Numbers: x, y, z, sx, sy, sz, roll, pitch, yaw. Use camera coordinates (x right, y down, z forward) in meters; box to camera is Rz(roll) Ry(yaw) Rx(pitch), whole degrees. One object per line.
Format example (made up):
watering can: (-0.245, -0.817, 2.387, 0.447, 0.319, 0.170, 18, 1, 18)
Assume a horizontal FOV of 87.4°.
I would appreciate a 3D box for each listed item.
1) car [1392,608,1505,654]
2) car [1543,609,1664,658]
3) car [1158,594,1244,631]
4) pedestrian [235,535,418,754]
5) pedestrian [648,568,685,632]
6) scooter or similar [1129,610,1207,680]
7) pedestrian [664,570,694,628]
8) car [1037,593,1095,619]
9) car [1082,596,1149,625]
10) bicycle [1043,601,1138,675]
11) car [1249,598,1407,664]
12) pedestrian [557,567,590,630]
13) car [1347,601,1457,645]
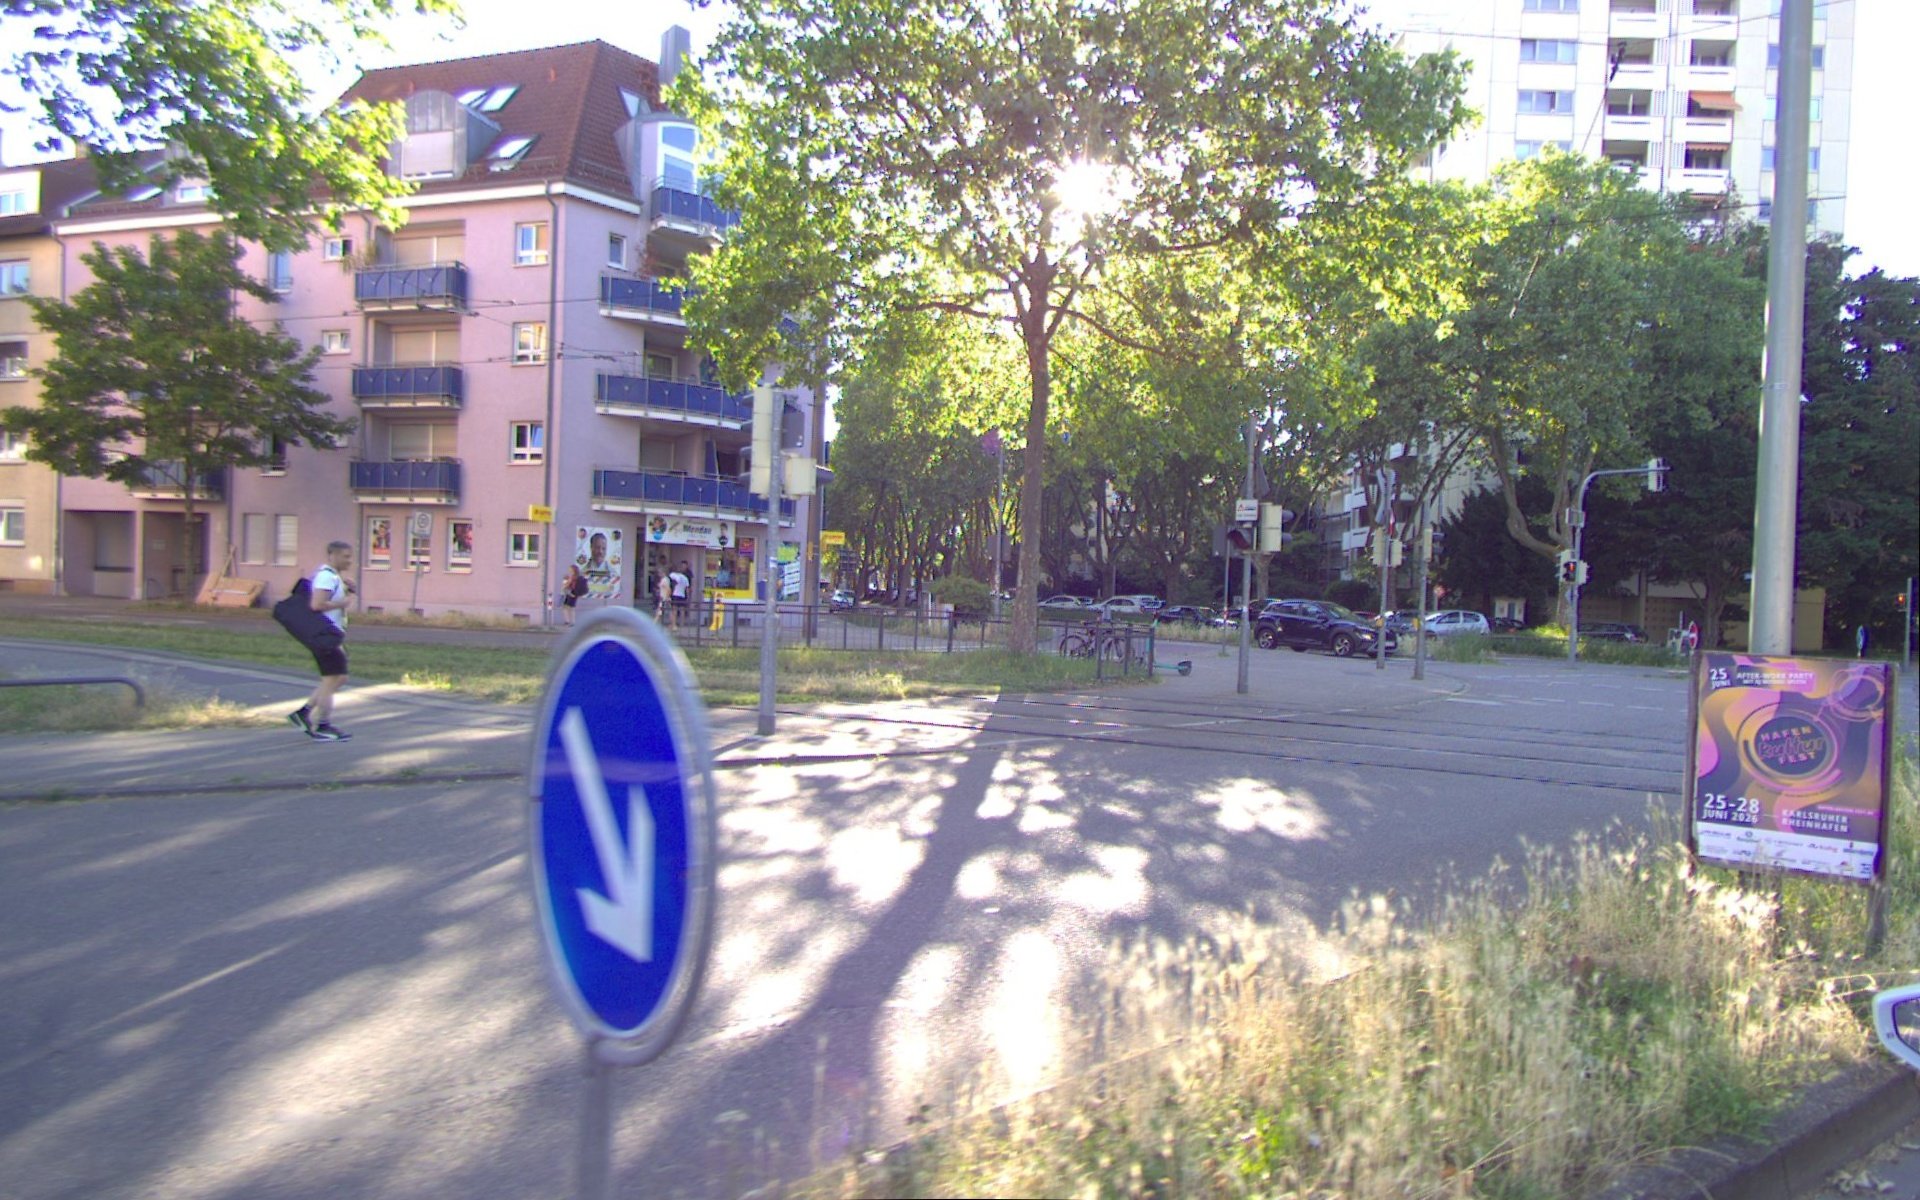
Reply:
car: (20.143, 1.270, 41.500, 3.732, 1.617, 1.738, 3, 1, 0)
car: (27.892, 1.426, 43.681, 1.971, 1.798, 3.979, 3, 1, -22)
car: (12.241, 0.611, 51.232, 3.921, 1.617, 1.738, 3, 1, 0)
pedestrian: (-5.558, 0.358, 8.828, 0.889, 1.760, 1.084, 4, 1, 39)
pedestrian: (-8.037, 0.008, 27.527, 0.607, 1.689, 0.926, 3, 1, 5)
scooter or similar: (4.084, 0.878, 19.801, 1.412, 1.255, 0.414, 3, 1, 9)
pedestrian: (-8.502, -0.026, 30.368, 0.610, 1.689, 0.549, 4, 1, 38)
car: (7.514, 0.442, 71.473, 3.921, 1.617, 1.738, 3, 1, 0)
car: (9.789, 0.659, 63.549, 3.921, 1.617, 1.738, 3, 1, 0)
bicycle: (2.561, 0.729, 19.848, 1.811, 1.324, 0.382, 4, 1, 34)
car: (10.533, 0.853, 28.998, 1.722, 1.617, 3.959, 3, 1, -36)
pedestrian: (-10.670, -0.040, 27.735, 0.608, 1.689, 0.551, 3, 1, 1)
car: (19.124, 0.975, 43.552, 3.921, 1.617, 1.738, 3, 1, 0)
